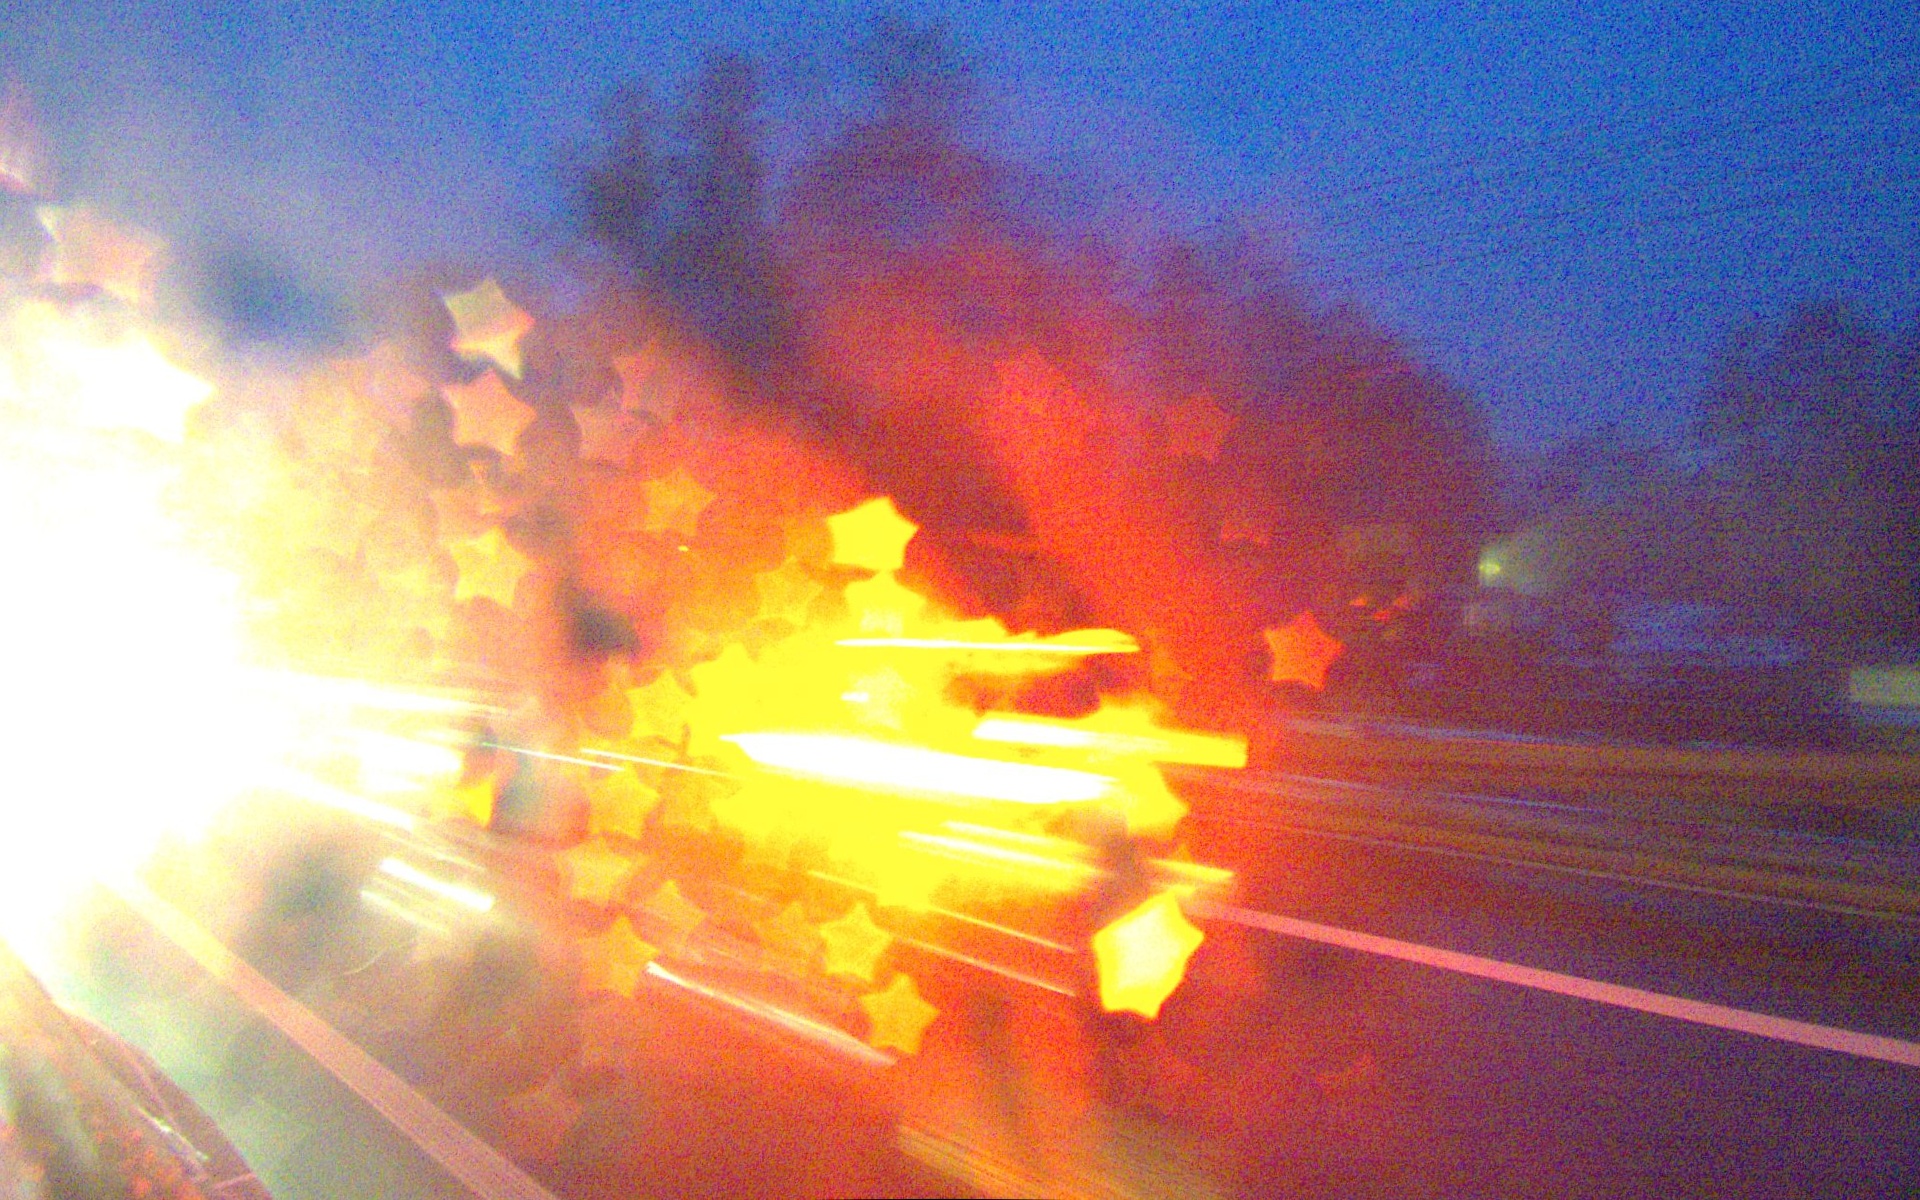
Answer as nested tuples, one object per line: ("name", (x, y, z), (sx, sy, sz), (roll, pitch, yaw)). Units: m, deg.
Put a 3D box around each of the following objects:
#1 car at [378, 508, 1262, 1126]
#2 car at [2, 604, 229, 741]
("car", (-0.909, 0.628, 4.664), (3.998, 1.598, 1.869), (-2, -3, 41))
("car", (-12.144, 0.964, 14.470), (3.998, 1.684, 1.869), (-2, -3, 41))
